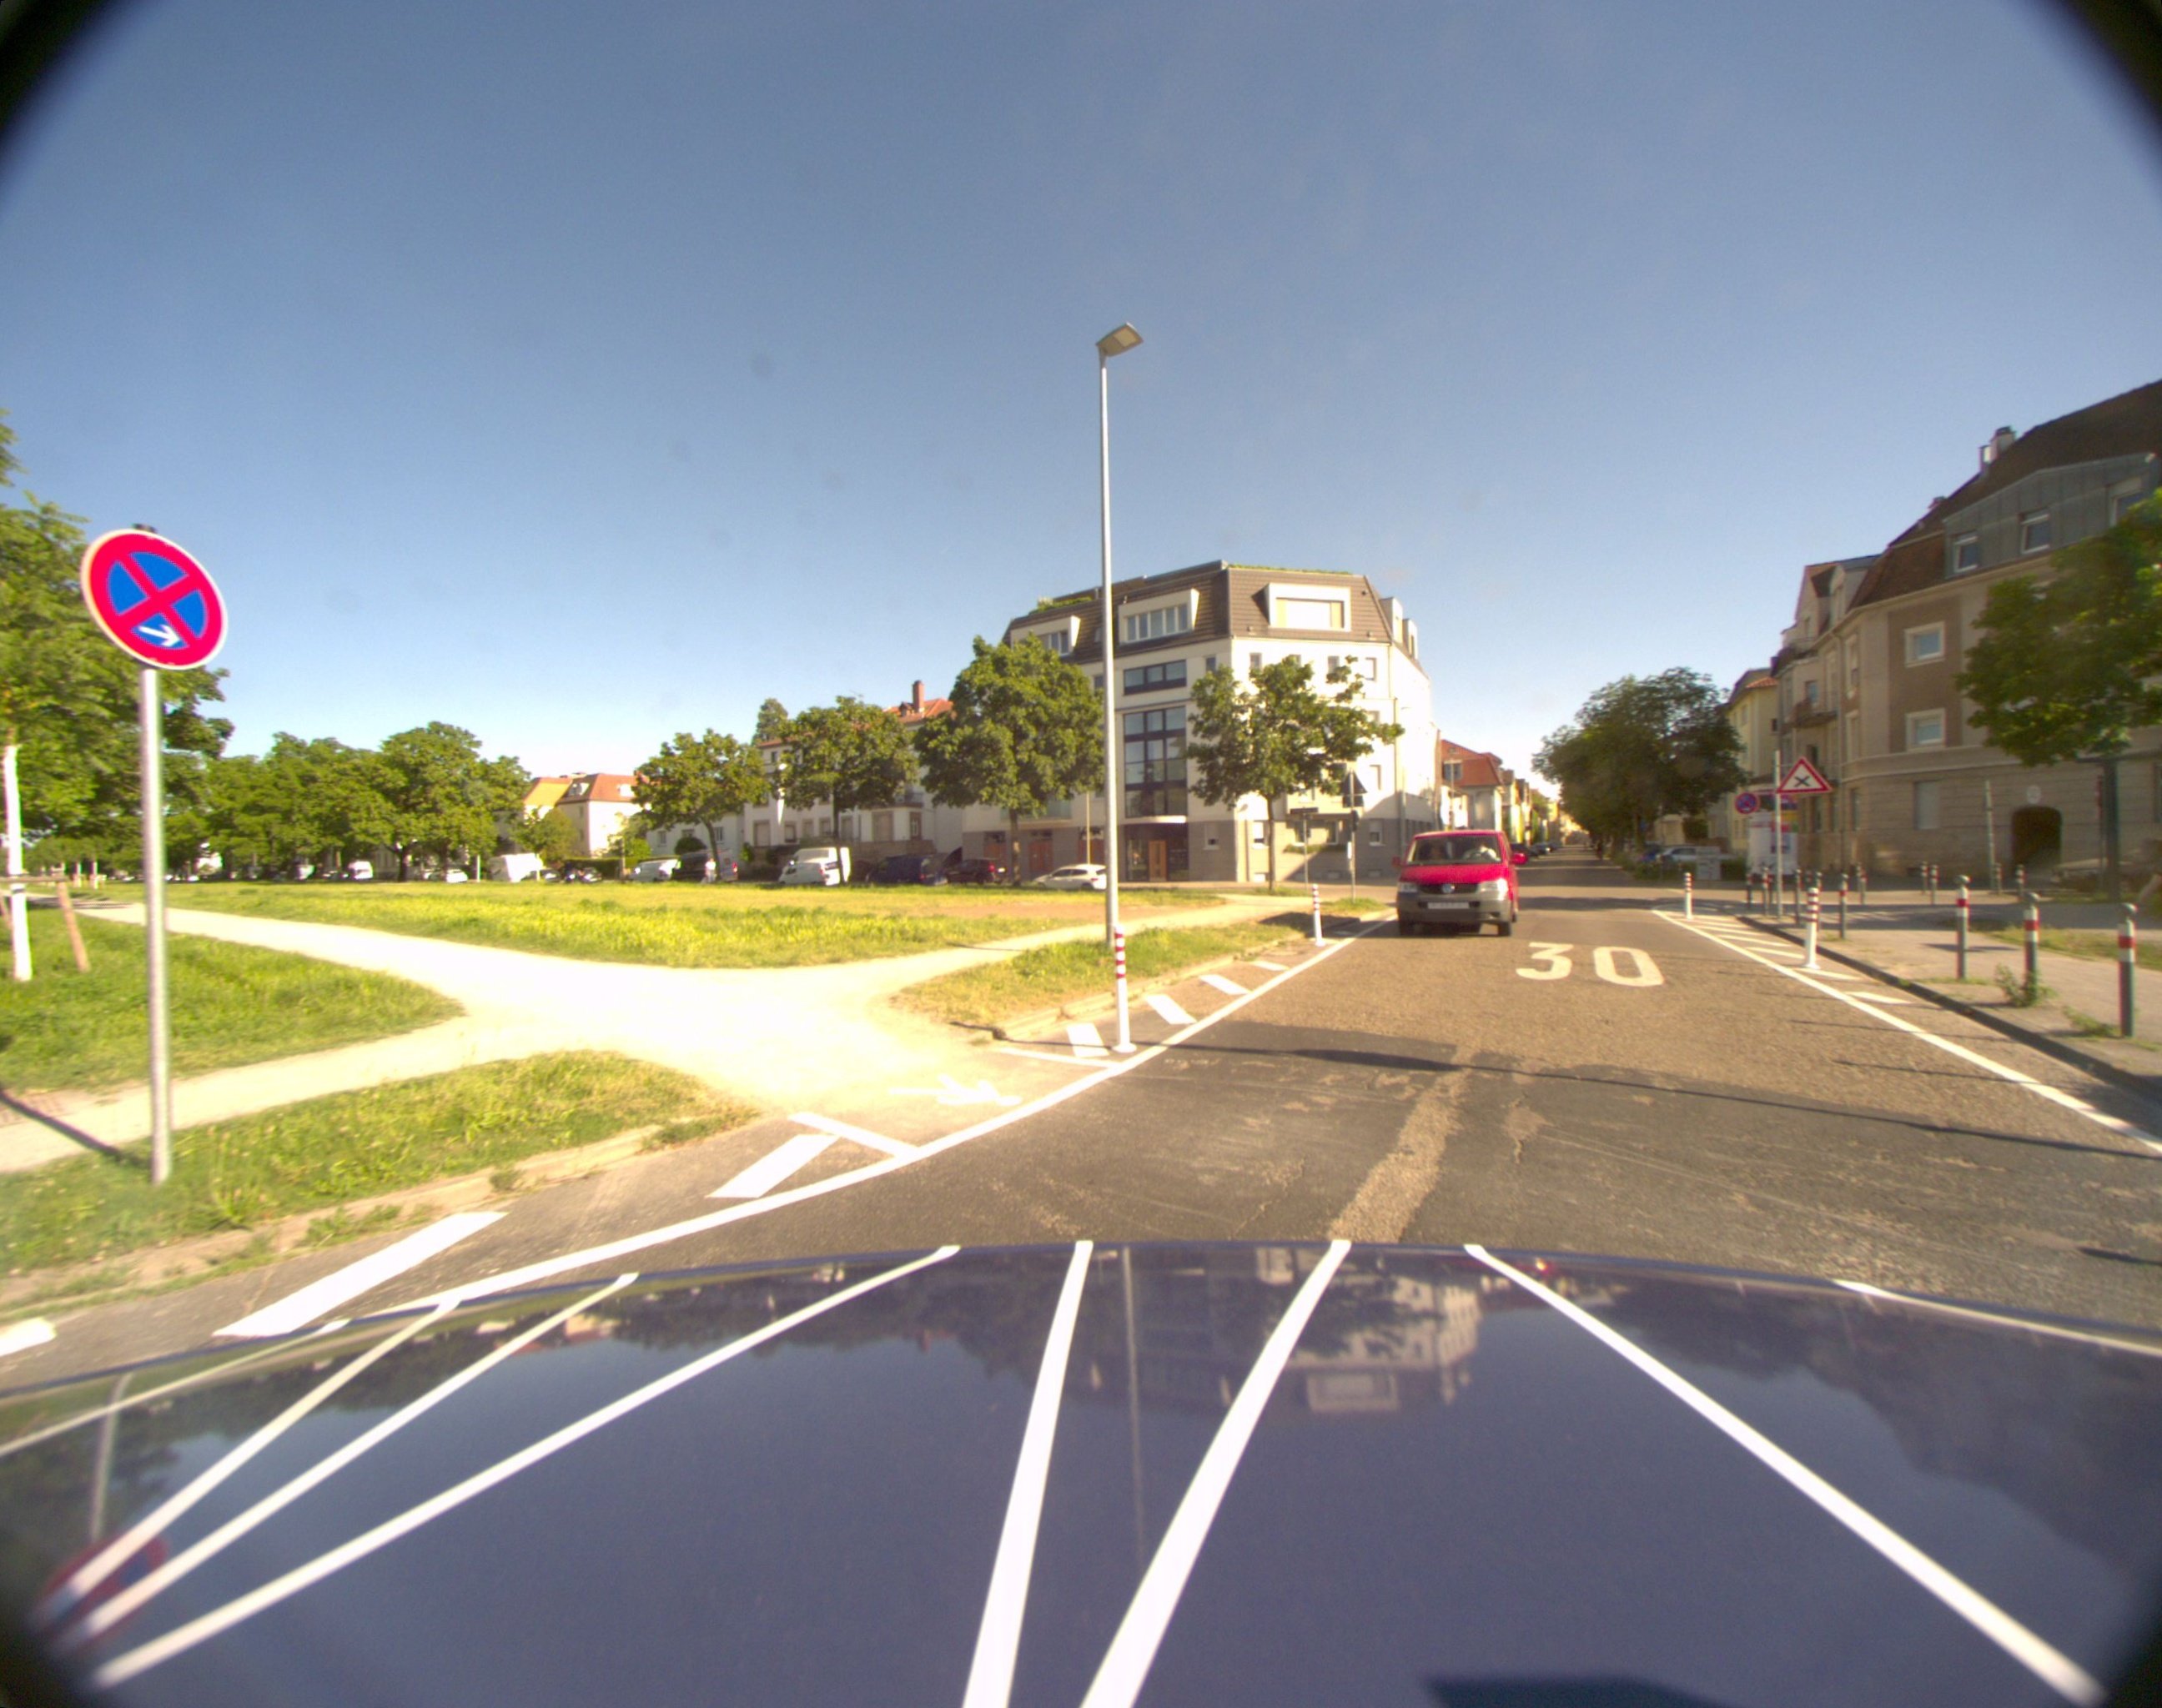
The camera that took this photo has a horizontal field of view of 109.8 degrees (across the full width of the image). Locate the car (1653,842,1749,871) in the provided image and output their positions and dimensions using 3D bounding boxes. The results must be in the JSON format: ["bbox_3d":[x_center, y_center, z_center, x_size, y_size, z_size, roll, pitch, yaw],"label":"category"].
[{"bbox_3d":[33.505,0.159,41.200,3.781,1.436,1.695,-2,0,31],"label":"car"}]

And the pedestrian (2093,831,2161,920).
[{"bbox_3d":[21.096,0.400,14.901,1.088,1.664,0.914,-4,0,15],"label":"pedestrian"}]

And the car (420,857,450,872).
[{"bbox_3d":[-81.612,1.378,95.940,3.983,1.834,1.869,0,1,35],"label":"car"}]

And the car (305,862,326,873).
[{"bbox_3d":[-130.820,2.257,129.849,3.983,1.834,1.870,-1,1,35],"label":"car"}]

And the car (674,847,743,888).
[{"bbox_3d":[-25.576,0.890,52.126,4.276,2.571,2.196,-1,5,35],"label":"car"}]

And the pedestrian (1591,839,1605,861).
[{"bbox_3d":[47.207,-0.379,69.323,1.021,2.002,1.073,0,1,32],"label":"pedestrian"}]

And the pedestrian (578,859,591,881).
[{"bbox_3d":[-34.013,1.062,52.045,0.533,1.496,0.498,0,1,34],"label":"pedestrian"}]

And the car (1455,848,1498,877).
[{"bbox_3d":[21.768,0.406,41.731,1.661,1.440,3.695,3,2,34],"label":"car"}]

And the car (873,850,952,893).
[{"bbox_3d":[-9.138,0.913,41.092,3.983,2.073,1.787,-1,5,35],"label":"car"}]

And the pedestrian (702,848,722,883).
[{"bbox_3d":[-20.141,0.611,41.485,0.627,1.866,0.726,0,1,33],"label":"pedestrian"}]

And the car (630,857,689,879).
[{"bbox_3d":[-31.153,1.029,56.156,4.276,1.589,2.090,-1,0,35],"label":"car"}]

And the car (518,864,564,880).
[{"bbox_3d":[-47.047,1.524,66.187,4.098,1.337,1.939,-1,0,35],"label":"car"}]

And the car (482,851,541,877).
[{"bbox_3d":[-52.307,0.890,69.797,5.903,2.320,2.556,-1,0,35],"label":"car"}]

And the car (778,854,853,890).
[{"bbox_3d":[-15.970,1.058,45.708,4.411,1.874,1.879,-1,5,34],"label":"car"}]

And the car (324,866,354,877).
[{"bbox_3d":[-102.157,2.390,104.583,4.714,1.457,2.085,-1,0,35],"label":"car"}]

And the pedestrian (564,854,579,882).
[{"bbox_3d":[-34.571,0.931,51.539,0.627,1.866,0.645,0,1,33],"label":"pedestrian"}]

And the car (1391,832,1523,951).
[{"bbox_3d":[7.583,0.688,15.034,1.892,1.948,4.897,-3,-2,31],"label":"car"}]

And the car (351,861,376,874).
[{"bbox_3d":[-107.625,2.055,113.980,3.983,1.834,1.870,-1,1,35],"label":"car"}]

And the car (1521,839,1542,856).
[{"bbox_3d":[52.491,-0.762,88.460,1.880,1.860,4.410,0,0,34],"label":"car"}]

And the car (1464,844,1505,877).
[{"bbox_3d":[24.203,0.321,45.485,1.661,1.825,4.265,3,3,34],"label":"car"}]

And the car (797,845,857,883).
[{"bbox_3d":[-18.226,0.699,54.481,3.983,2.534,2.027,-1,2,35],"label":"car"}]

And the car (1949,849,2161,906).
[{"bbox_3d":[29.310,0.658,22.715,4.004,1.476,1.871,-1,4,31],"label":"car"}]

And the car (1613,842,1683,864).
[{"bbox_3d":[41.525,-0.045,55.760,3.783,1.486,1.695,-2,0,20],"label":"car"}]

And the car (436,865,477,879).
[{"bbox_3d":[-64.770,1.849,78.807,4.714,1.457,2.085,-1,0,35],"label":"car"}]

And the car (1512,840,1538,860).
[{"bbox_3d":[44.004,-0.463,75.304,1.880,1.861,4.410,3,2,34],"label":"car"}]

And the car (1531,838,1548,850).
[{"bbox_3d":[66.756,-1.463,110.566,1.880,1.734,4.410,0,0,34],"label":"car"}]

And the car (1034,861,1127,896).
[{"bbox_3d":[-0.048,1.106,35.296,3.983,1.425,1.742,-1,5,34],"label":"car"}]

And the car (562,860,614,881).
[{"bbox_3d":[-40.477,1.337,62.314,4.276,1.589,2.090,-1,0,35],"label":"car"}]

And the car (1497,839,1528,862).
[{"bbox_3d":[36.203,-0.335,63.719,1.880,1.861,4.410,3,3,34],"label":"car"}]

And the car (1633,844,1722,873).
[{"bbox_3d":[34.040,0.259,43.472,3.781,1.486,1.695,-2,0,31],"label":"car"}]

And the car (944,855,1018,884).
[{"bbox_3d":[-6.111,0.938,46.319,4.276,1.673,1.900,0,1,35],"label":"car"}]
